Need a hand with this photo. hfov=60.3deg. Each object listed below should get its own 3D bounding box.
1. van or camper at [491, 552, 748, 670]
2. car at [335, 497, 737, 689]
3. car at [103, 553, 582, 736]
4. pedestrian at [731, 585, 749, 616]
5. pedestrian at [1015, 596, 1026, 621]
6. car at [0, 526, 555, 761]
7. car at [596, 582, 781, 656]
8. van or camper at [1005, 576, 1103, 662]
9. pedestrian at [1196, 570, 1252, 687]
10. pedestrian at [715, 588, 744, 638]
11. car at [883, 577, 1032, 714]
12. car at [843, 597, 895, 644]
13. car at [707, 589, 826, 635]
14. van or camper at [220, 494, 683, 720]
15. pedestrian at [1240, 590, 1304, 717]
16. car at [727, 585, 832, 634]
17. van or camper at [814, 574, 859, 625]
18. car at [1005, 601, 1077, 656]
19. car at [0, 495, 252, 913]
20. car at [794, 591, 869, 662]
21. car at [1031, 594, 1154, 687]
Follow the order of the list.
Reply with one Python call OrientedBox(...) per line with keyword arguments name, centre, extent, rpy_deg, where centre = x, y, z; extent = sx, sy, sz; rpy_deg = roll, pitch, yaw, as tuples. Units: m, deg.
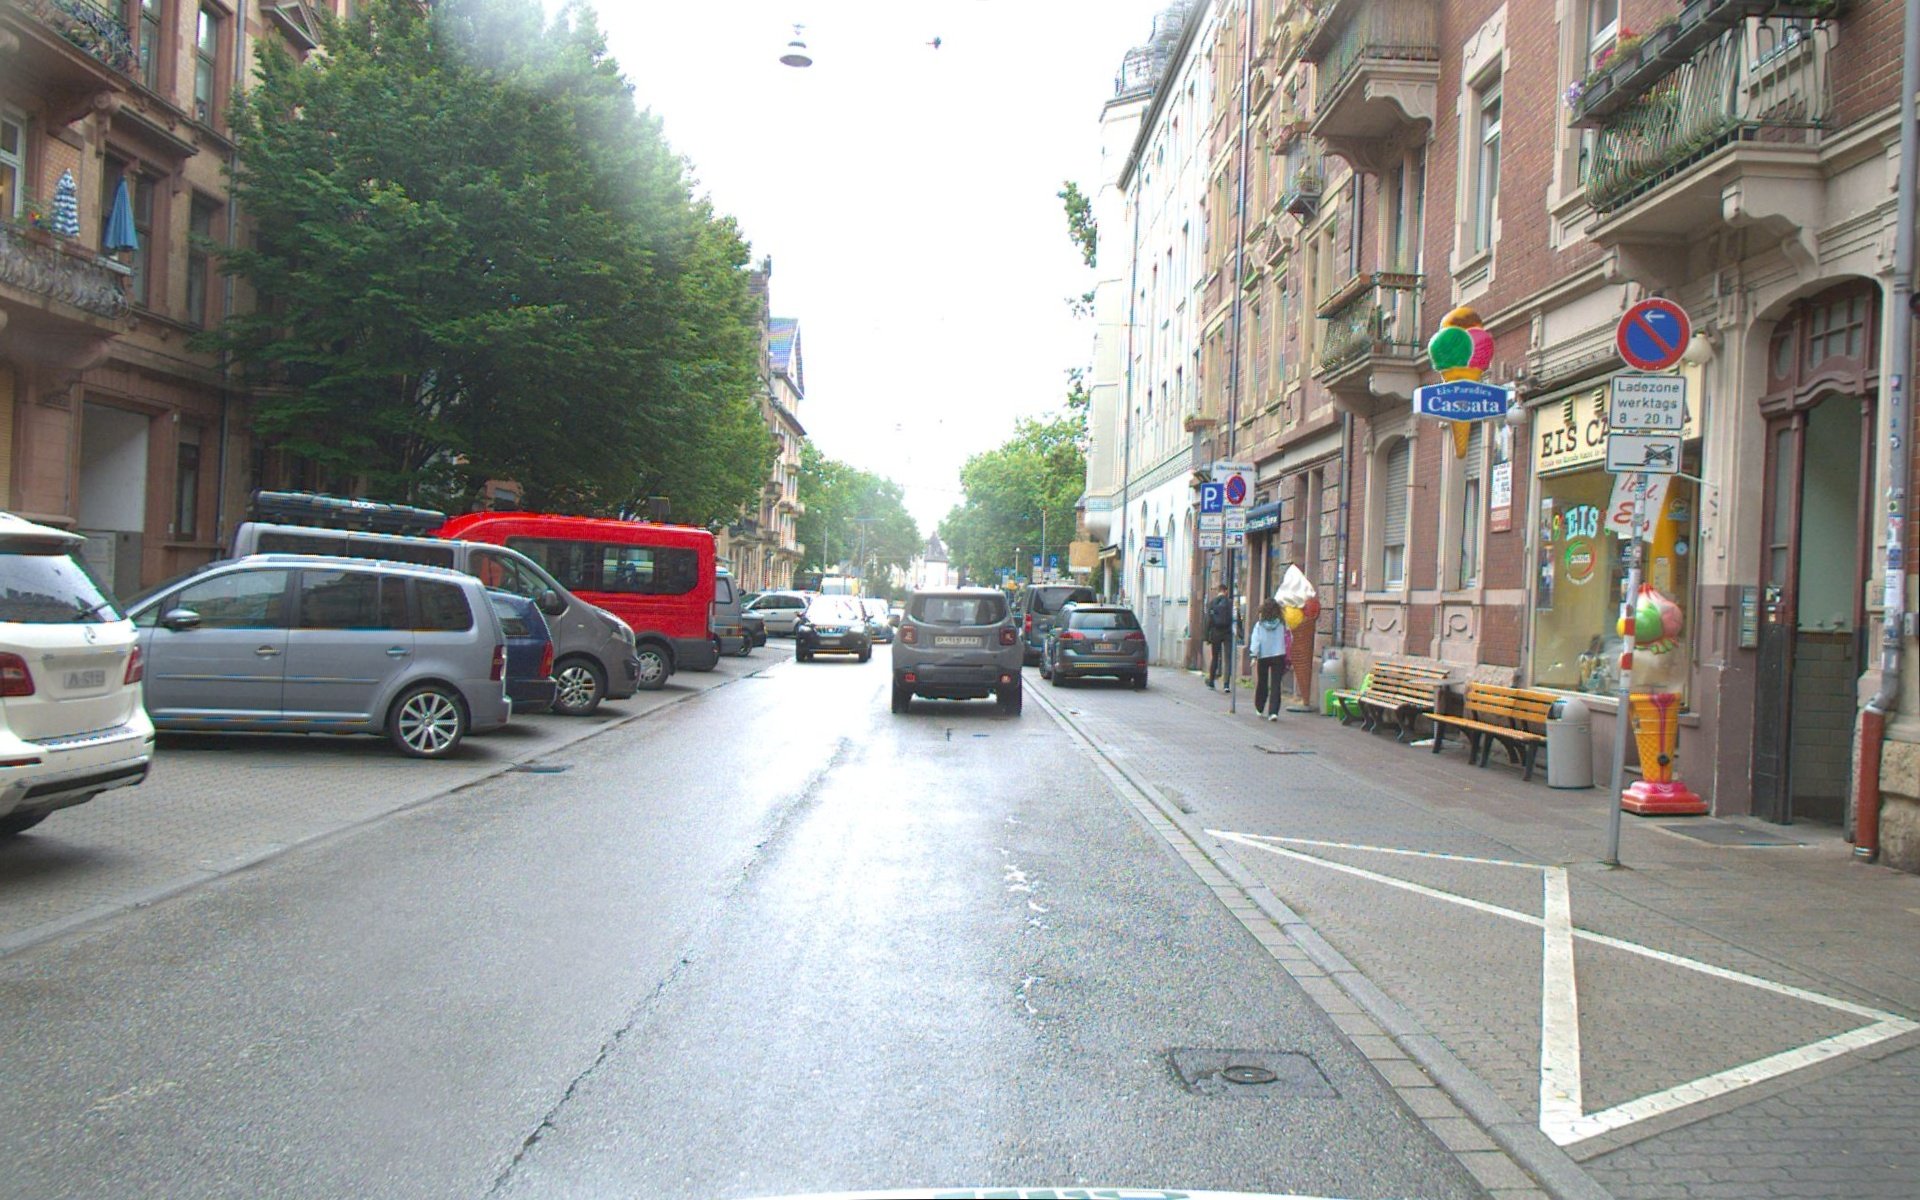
OrientedBox(name="van or camper", centre=(-6.418, 0.228, 31.388), extent=(4.395, 2.009, 1.761), rpy_deg=(3, 0, -34))
OrientedBox(name="car", centre=(-6.414, -0.057, 25.157), extent=(5.492, 2.585, 2.209), rpy_deg=(3, 0, -29))
OrientedBox(name="car", centre=(-6.221, 0.457, 16.908), extent=(4.285, 1.530, 1.743), rpy_deg=(4, 0, -24))
OrientedBox(name="pedestrian", centre=(-11.647, 0.024, 87.615), extent=(0.694, 1.578, 0.608), rpy_deg=(4, 0, 6))
OrientedBox(name="pedestrian", centre=(4.203, 0.572, 115.111), extent=(0.676, 1.741, 0.684), rpy_deg=(1, 0, -1))
OrientedBox(name="car", centre=(-5.992, 0.397, 14.461), extent=(4.379, 1.658, 1.829), rpy_deg=(5, 0, -27))
OrientedBox(name="car", centre=(-6.383, 0.460, 39.106), extent=(3.943, 1.472, 1.742), rpy_deg=(4, 0, -41))
OrientedBox(name="van or camper", centre=(2.201, 0.426, 40.006), extent=(1.980, 1.924, 5.054), rpy_deg=(1, 0, -1))
OrientedBox(name="pedestrian", centre=(4.626, 0.483, 28.929), extent=(0.667, 1.967, 0.808), rpy_deg=(1, 3, 34))
OrientedBox(name="pedestrian", centre=(-8.638, 0.485, 61.963), extent=(0.808, 1.782, 0.757), rpy_deg=(4, 0, 6))
OrientedBox(name="car", centre=(-0.098, 0.589, 23.413), extent=(1.860, 1.700, 4.504), rpy_deg=(2, 0, -2))
OrientedBox(name="car", centre=(-3.082, 0.675, 56.652), extent=(1.636, 1.491, 4.002), rpy_deg=(2, 0, -2))
OrientedBox(name="car", centre=(-6.514, 0.400, 55.906), extent=(3.673, 1.477, 1.664), rpy_deg=(1, 0, -36))
OrientedBox(name="van or camper", centre=(-6.101, 0.124, 19.884), extent=(4.950, 2.390, 2.325), rpy_deg=(3, 0, -27))
OrientedBox(name="pedestrian", centre=(4.139, 0.693, 21.988), extent=(0.665, 1.642, 0.810), rpy_deg=(1, 0, 0))
OrientedBox(name="car", centre=(-6.408, 0.348, 58.788), extent=(3.345, 1.683, 1.615), rpy_deg=(1, 0, -34))
OrientedBox(name="van or camper", centre=(-6.871, 0.015, 92.567), extent=(2.078, 2.575, 6.872), rpy_deg=(-2, -2, -1))
OrientedBox(name="car", centre=(2.180, 0.745, 45.342), extent=(1.675, 1.425, 3.704), rpy_deg=(1, 0, -1))
OrientedBox(name="car", centre=(-6.376, 0.272, 8.229), extent=(4.487, 1.816, 2.545), rpy_deg=(5, 0, -2))
OrientedBox(name="car", centre=(-3.077, 0.624, 40.189), extent=(1.636, 1.586, 4.001), rpy_deg=(2, 0, -3))
OrientedBox(name="car", centre=(2.383, 0.705, 30.569), extent=(1.804, 1.572, 4.002), rpy_deg=(2, 0, -2))
